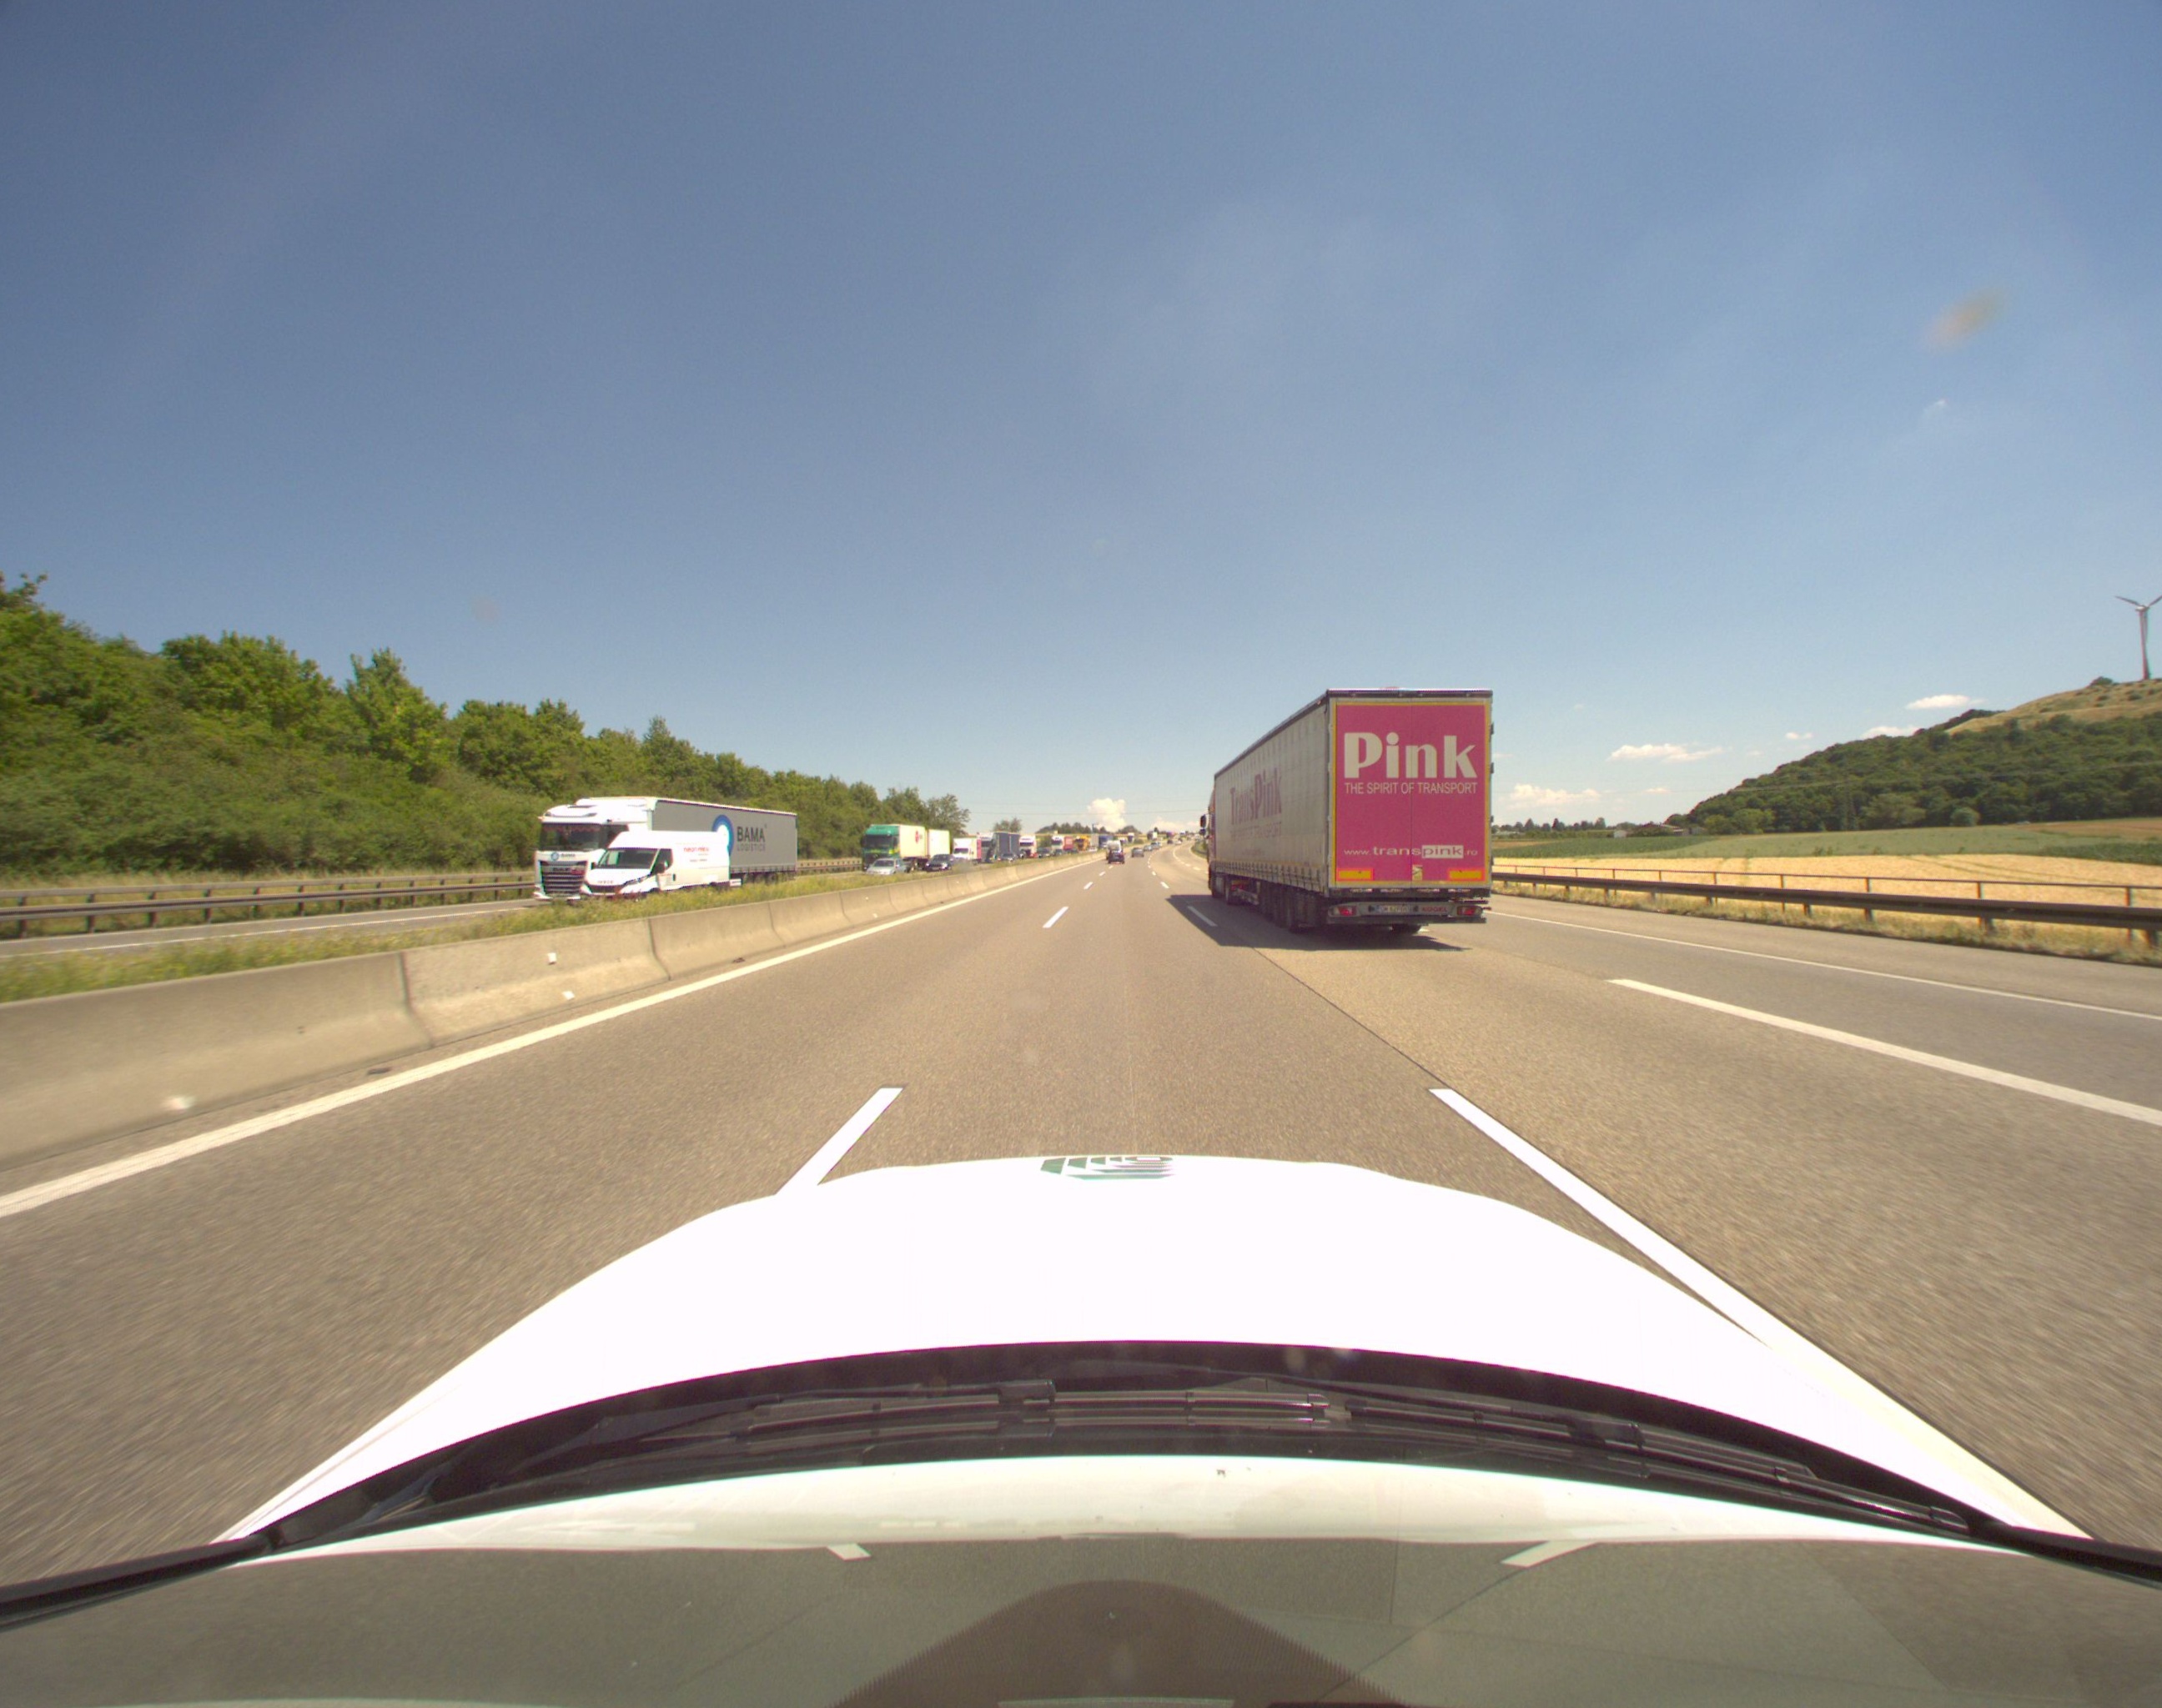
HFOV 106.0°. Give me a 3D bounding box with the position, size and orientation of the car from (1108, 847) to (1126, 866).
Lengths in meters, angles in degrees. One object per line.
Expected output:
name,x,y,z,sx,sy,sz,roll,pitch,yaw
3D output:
car,3.923,0.265,88.757,1.839,1.860,4.210,-1,2,3

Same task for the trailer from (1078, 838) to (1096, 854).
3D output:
trailer,1.812,-2.337,224.350,2.935,4.100,14.418,0,1,9

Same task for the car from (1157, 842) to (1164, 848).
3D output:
car,22.769,-2.488,232.964,1.983,1.551,4.008,0,2,6

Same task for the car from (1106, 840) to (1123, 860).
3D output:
car,4.510,-0.491,108.544,2.170,2.625,4.676,0,-1,4

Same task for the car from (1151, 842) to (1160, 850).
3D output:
car,18.563,-2.004,202.727,1.986,1.904,4.002,-1,-1,2

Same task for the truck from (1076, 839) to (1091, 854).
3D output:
truck,0.700,-2.060,217.285,2.735,3.836,7.116,0,1,9

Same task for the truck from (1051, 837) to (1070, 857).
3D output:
truck,-4.405,-1.499,175.606,3.019,4.081,6.328,-1,1,7

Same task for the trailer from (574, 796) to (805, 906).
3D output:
trailer,-17.335,-0.133,38.167,2.890,4.086,14.460,-1,0,4

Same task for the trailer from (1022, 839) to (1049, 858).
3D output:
trailer,-7.964,-0.994,144.533,2.844,3.205,12.805,0,1,6

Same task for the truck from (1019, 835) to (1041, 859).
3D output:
truck,-8.610,-1.166,138.163,2.886,3.876,6.188,0,1,6

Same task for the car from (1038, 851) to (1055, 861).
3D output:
car,-5.477,0.379,129.556,1.984,1.527,4.779,0,0,5

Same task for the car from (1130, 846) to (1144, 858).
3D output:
car,8.682,-0.306,125.472,1.984,1.750,4.005,0,-1,5

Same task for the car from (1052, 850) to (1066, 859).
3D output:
car,-3.936,0.079,147.352,1.984,1.455,5.177,-1,0,5

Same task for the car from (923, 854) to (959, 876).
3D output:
car,-11.424,0.931,66.794,1.854,1.641,5.117,-1,-1,3

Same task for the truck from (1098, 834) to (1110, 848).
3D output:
truck,7.450,-4.138,260.913,2.768,4.335,10.674,0,2,7

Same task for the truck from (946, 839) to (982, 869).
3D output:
truck,-13.244,-0.057,92.725,2.527,3.207,7.598,-1,0,4

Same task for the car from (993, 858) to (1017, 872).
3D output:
car,-9.171,1.337,98.943,1.985,1.545,5.500,-1,0,4

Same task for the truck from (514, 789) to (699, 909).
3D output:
truck,-17.747,-0.176,31.062,2.841,4.036,6.609,-1,0,3

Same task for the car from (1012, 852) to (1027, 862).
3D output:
car,-9.624,0.485,127.781,1.648,1.431,4.655,-1,0,5

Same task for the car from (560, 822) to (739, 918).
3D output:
car,-13.885,0.538,26.912,2.131,2.786,6.628,0,-1,2

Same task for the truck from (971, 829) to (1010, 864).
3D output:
truck,-11.901,-1.011,108.194,2.986,4.233,10.751,-1,1,6

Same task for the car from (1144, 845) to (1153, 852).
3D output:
car,15.010,-1.260,181.474,1.985,1.585,4.003,-2,0,3

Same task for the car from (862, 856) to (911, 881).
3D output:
car,-12.283,0.931,51.639,1.745,1.460,4.861,0,-1,2

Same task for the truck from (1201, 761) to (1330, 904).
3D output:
truck,5.692,-0.616,26.288,2.905,4.008,6.514,0,0,2

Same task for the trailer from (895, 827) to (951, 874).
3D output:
trailer,-14.783,-0.339,77.103,2.906,4.071,8.241,-2,0,5

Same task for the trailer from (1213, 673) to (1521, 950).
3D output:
trailer,5.385,-0.648,19.087,2.907,4.117,13.866,0,0,2

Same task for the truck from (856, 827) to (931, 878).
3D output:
truck,-15.498,-0.163,68.392,2.830,3.898,11.261,-2,0,4
